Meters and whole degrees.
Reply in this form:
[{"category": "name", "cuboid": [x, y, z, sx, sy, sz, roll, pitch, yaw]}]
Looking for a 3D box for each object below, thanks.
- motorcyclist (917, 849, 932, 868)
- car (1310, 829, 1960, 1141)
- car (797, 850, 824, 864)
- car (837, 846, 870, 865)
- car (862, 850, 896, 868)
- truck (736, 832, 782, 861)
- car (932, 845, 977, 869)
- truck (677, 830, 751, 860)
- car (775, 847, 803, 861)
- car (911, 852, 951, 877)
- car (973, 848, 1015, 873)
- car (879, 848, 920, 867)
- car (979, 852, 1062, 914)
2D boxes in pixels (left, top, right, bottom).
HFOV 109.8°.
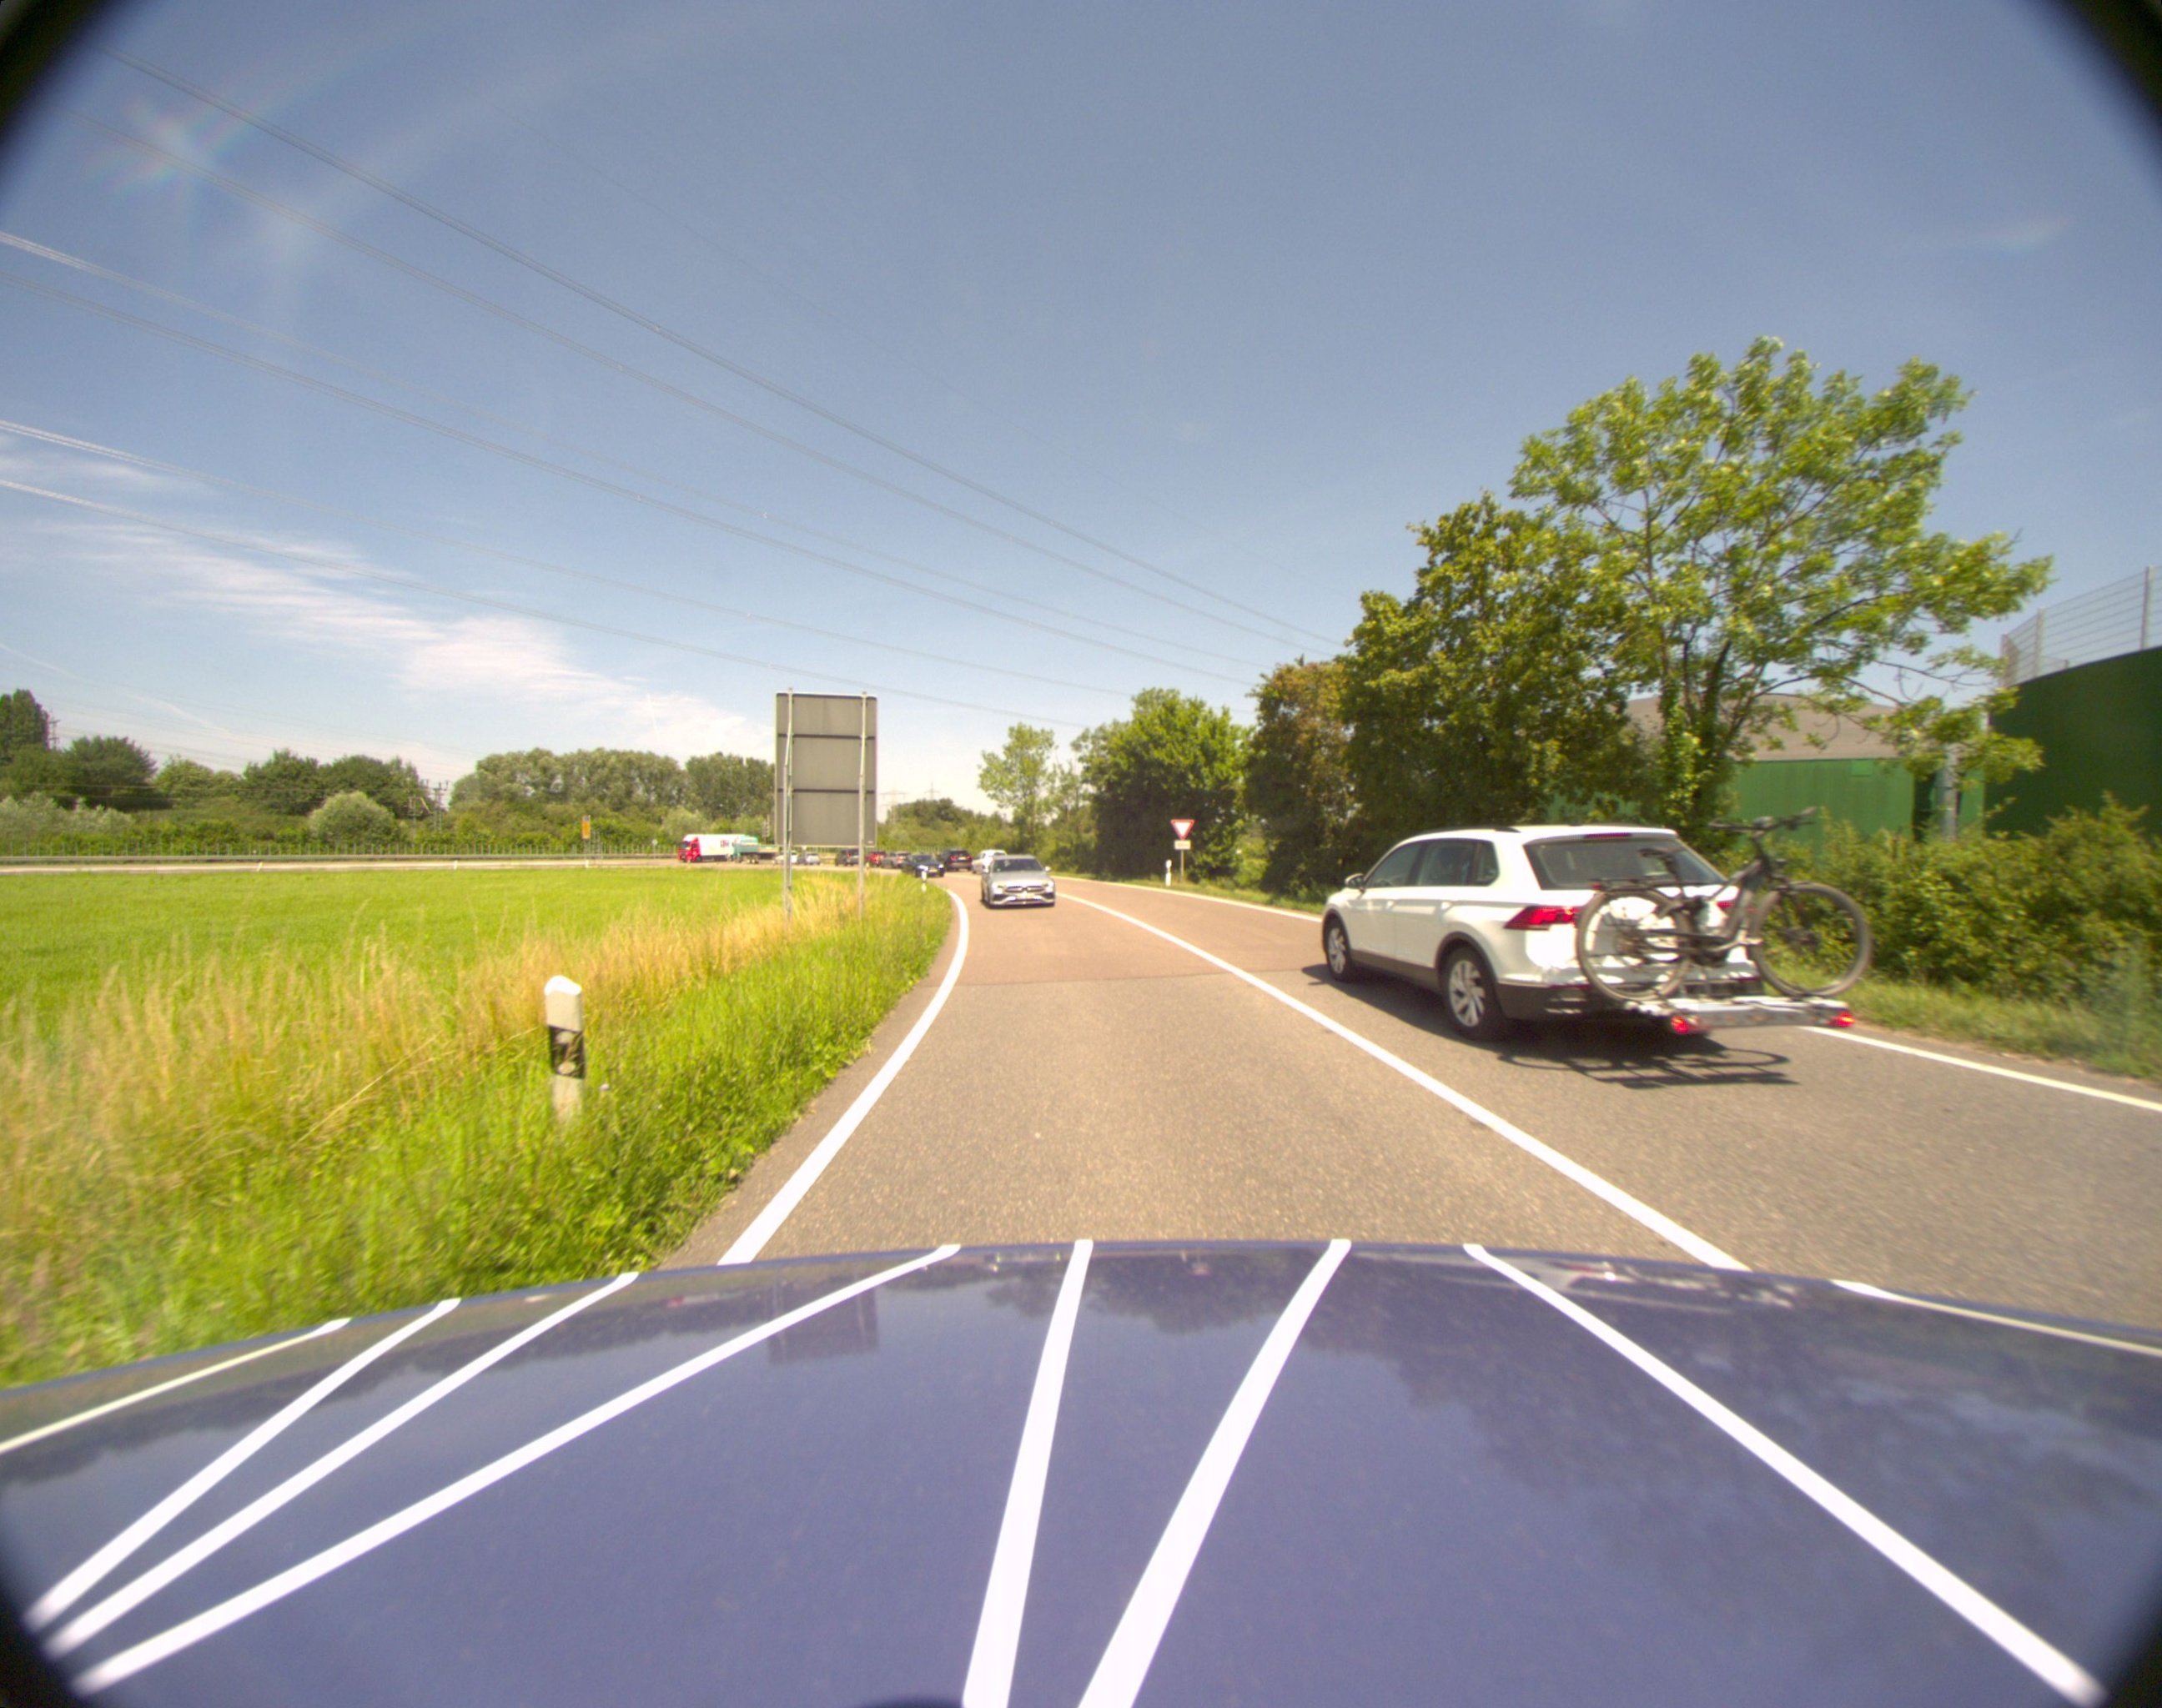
[{"category": "motorcyclist", "cuboid": [-12.574, 0.330, 61.144, 0.784, 1.487, 1.127, -2, 2, -33]}, {"category": "car", "cuboid": [3.705, 0.681, 6.444, 1.860, 1.592, 4.776, -2, 0, -2]}, {"category": "car", "cuboid": [-30.001, 0.335, 84.302, 1.640, 1.451, 3.997, -1, 1, -38]}, {"category": "car", "cuboid": [-22.847, 0.152, 76.254, 1.936, 1.822, 4.426, -1, 2, -35]}, {"category": "car", "cuboid": [-18.815, 0.433, 70.695, 1.808, 1.507, 4.379, 0, 1, -33]}, {"category": "truck", "cuboid": [-40.139, -0.959, 94.590, 7.587, 3.451, 2.616, 0, 1, 45]}, {"category": "car", "cuboid": [-9.151, 0.207, 54.658, 1.710, 1.629, 4.239, -3, 2, -30]}, {"category": "truck", "cuboid": [-48.365, -1.257, 100.612, 2.719, 3.560, 9.565, 0, 2, 20]}, {"category": "car", "cuboid": [-34.259, 0.000, 89.001, 1.781, 1.611, 4.318, -3, 2, -38]}, {"category": "car", "cuboid": [-9.205, 0.614, 46.411, 1.827, 1.431, 4.141, 0, 1, -20]}, {"category": "car", "cuboid": [-5.532, 0.382, 47.848, 1.543, 1.435, 3.599, -4, 3, -24]}, {"category": "car", "cuboid": [-15.597, 0.260, 65.176, 1.850, 1.452, 4.796, -2, 2, -33]}, {"category": "car", "cuboid": [-1.851, 0.753, 22.014, 1.826, 1.478, 4.143, -2, 2, -12]}]
